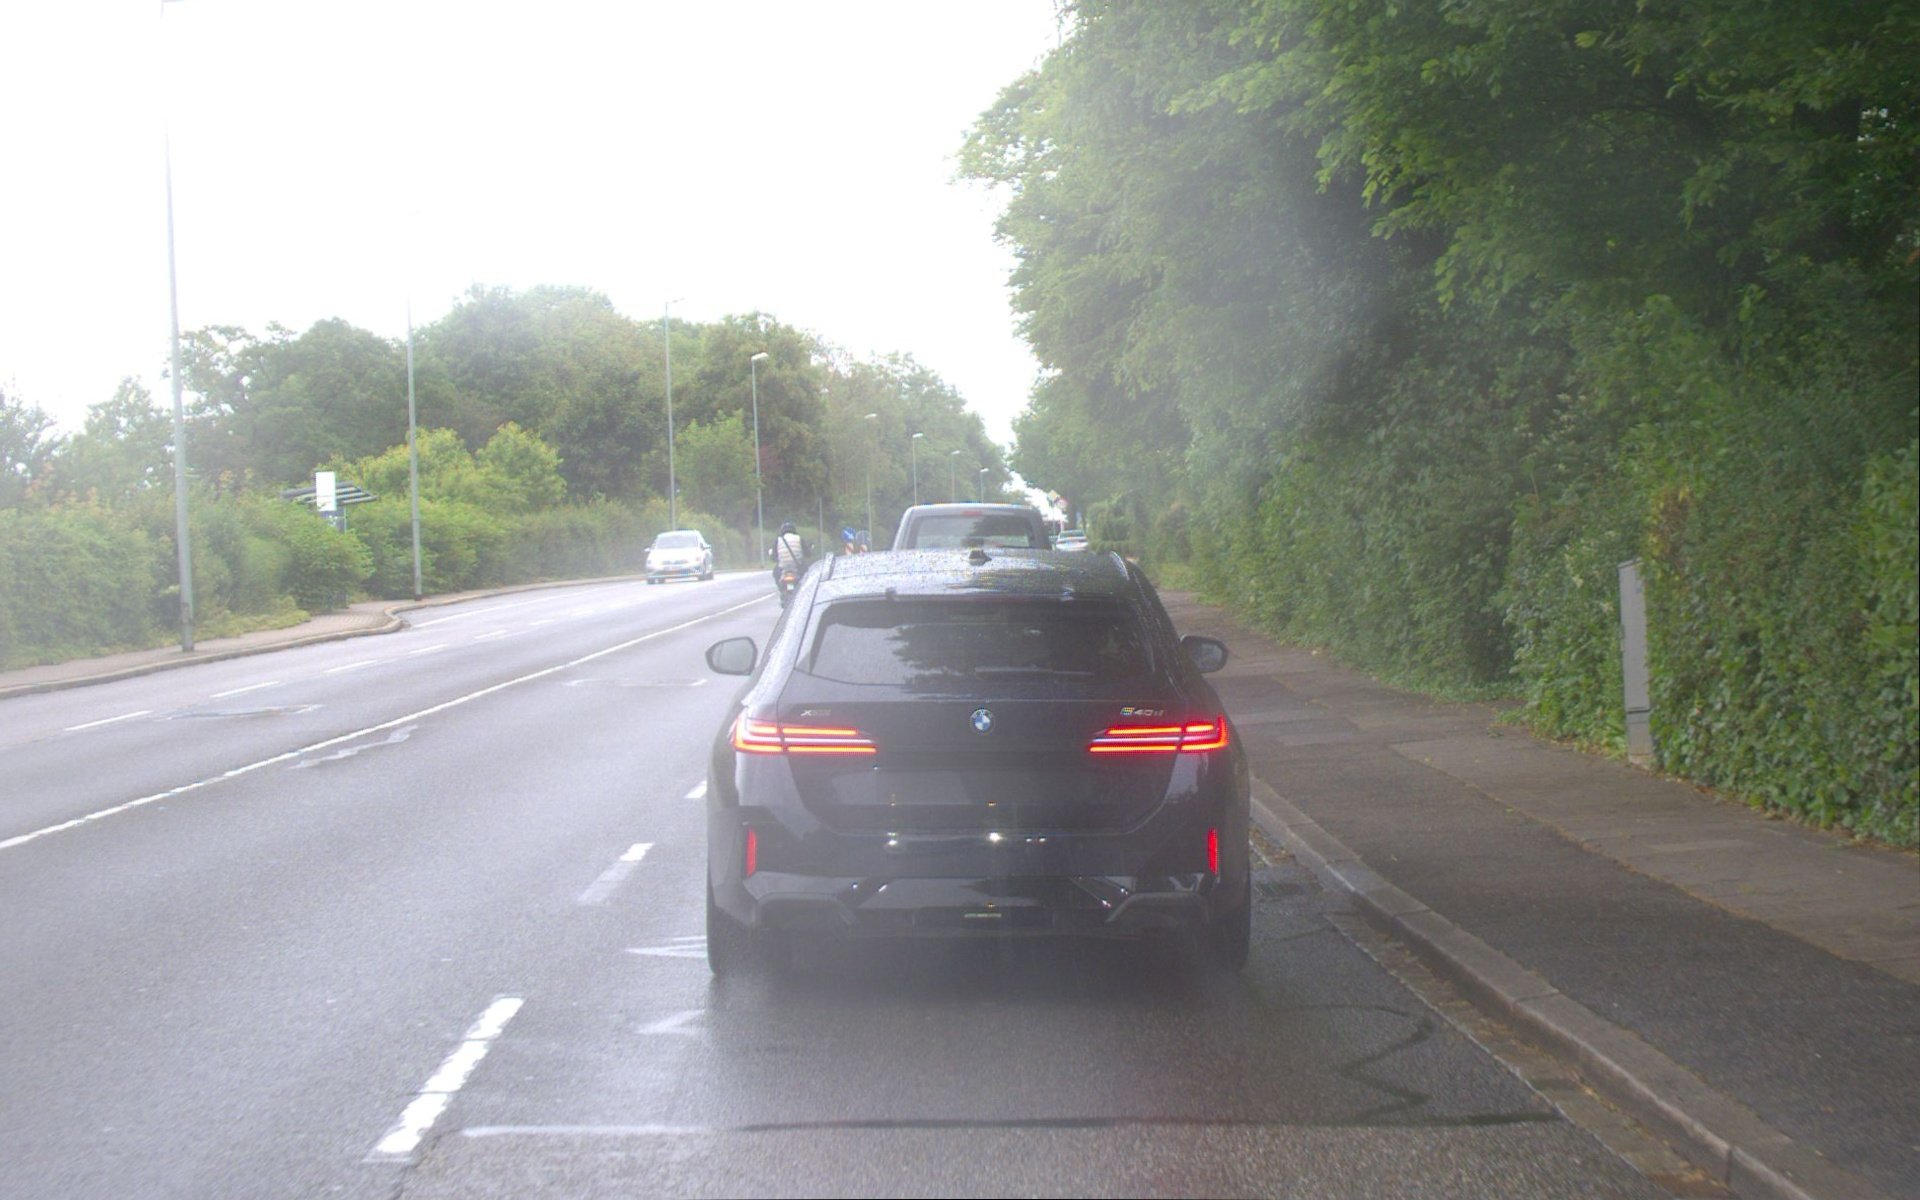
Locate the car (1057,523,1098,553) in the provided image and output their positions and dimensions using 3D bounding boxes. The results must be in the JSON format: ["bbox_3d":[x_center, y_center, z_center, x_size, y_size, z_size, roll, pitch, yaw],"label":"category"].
[{"bbox_3d":[6.007,-3.155,174.980,1.935,1.437,4.407,-2,1,4],"label":"car"}]

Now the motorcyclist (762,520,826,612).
[{"bbox_3d":[-2.845,-0.582,59.006,1.039,1.562,0.855,0,0,1],"label":"motorcyclist"}]

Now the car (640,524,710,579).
[{"bbox_3d":[-8.723,-1.508,105.399,1.756,1.563,4.000,-3,1,-1],"label":"car"}]

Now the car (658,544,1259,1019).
[{"bbox_3d":[0.060,0.543,12.904,1.897,1.484,4.000,0,1,2],"label":"car"}]

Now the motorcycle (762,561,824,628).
[{"bbox_3d":[-2.854,-0.102,59.012,0.876,1.120,2.741,0,1,1],"label":"motorcycle"}]

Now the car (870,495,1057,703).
[{"bbox_3d":[0.064,-0.061,33.271,1.629,1.827,4.000,-2,1,1],"label":"car"}]
